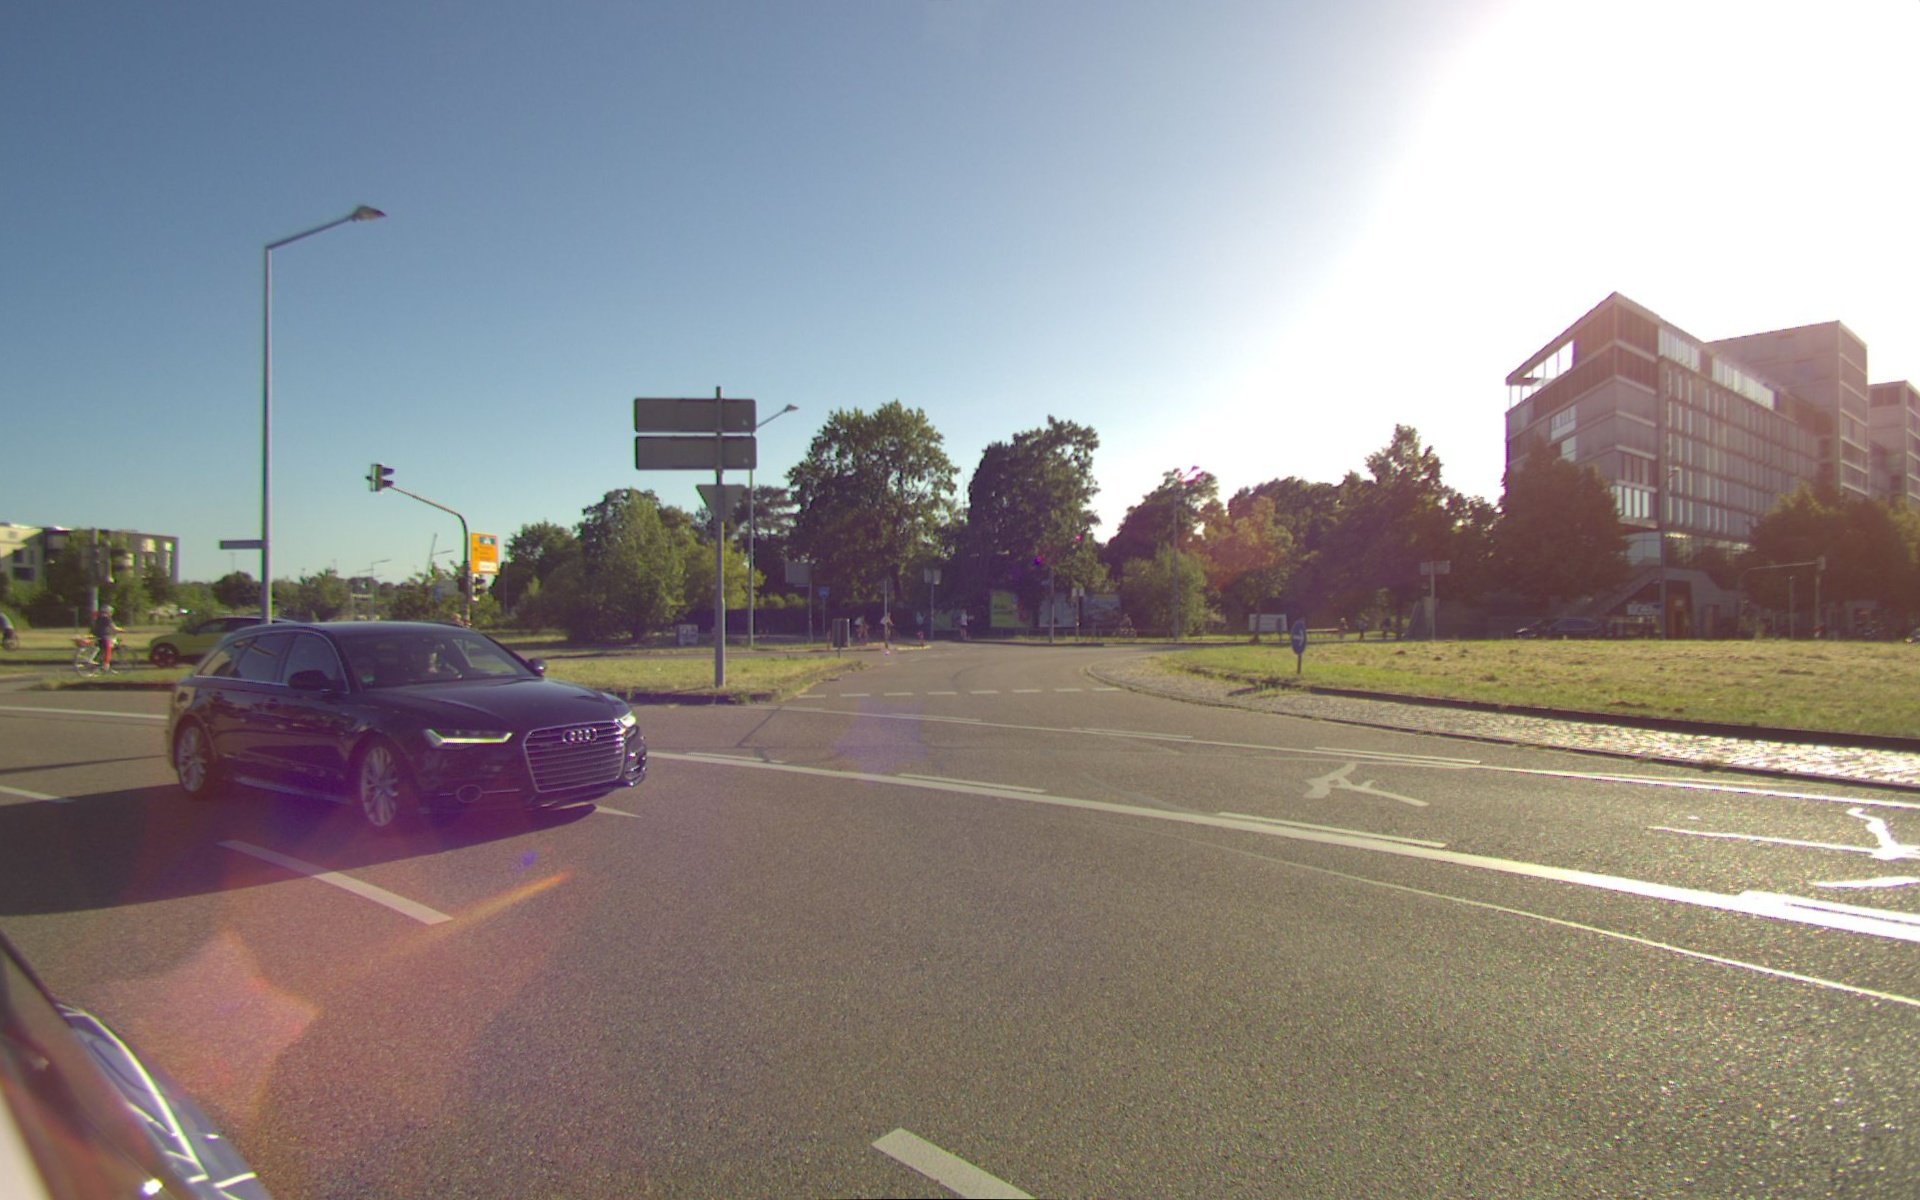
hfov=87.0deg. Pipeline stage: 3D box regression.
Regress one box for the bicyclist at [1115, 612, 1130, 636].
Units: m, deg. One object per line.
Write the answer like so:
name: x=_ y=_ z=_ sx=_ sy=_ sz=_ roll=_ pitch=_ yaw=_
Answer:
bicyclist: x=10.670 y=1.575 z=66.300 sx=0.822 sy=1.592 sz=0.663 roll=0 pitch=-1 yaw=-6

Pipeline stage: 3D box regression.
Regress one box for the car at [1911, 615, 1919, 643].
car: x=64.133 y=1.894 z=65.782 sx=3.850 sy=1.798 sz=1.781 roll=0 pitch=0 yaw=-18

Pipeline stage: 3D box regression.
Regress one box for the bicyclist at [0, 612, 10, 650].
bicyclist: x=-40.042 y=1.284 z=42.011 sx=0.841 sy=1.576 sz=0.432 roll=0 pitch=-1 yaw=8

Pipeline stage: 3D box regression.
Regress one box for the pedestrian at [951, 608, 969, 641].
pedestrian: x=0.020 y=1.485 z=61.355 sx=0.928 sy=2.021 sz=0.590 roll=0 pitch=-1 yaw=-18

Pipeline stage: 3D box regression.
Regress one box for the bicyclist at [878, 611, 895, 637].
bicyclist: x=-4.004 y=1.309 z=55.227 sx=0.707 sy=1.403 sz=0.618 roll=0 pitch=-1 yaw=-38

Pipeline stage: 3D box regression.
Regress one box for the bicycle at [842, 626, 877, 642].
bicycle: x=-5.463 y=1.845 z=55.078 sx=1.858 sy=0.859 sz=0.618 roll=0 pitch=-1 yaw=-38

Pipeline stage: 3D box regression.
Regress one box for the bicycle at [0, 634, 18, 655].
bicycle: x=-40.179 y=1.850 z=42.024 sx=1.866 sy=0.859 sz=0.490 roll=0 pitch=-1 yaw=8

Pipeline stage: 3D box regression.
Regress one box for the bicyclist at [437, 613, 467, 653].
bicyclist: x=-19.504 y=1.270 z=38.884 sx=0.610 sy=1.528 sz=0.923 roll=-1 pitch=-1 yaw=9

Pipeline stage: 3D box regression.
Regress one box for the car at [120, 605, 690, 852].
car: x=-4.610 y=0.811 z=8.122 sx=4.999 sy=1.454 sz=1.779 roll=-1 pitch=0 yaw=32

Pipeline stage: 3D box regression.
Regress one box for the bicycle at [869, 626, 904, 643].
bicycle: x=-3.992 y=1.869 z=55.222 sx=1.858 sy=0.859 sz=0.618 roll=0 pitch=-1 yaw=-38

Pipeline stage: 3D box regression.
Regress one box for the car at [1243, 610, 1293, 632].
car: x=26.005 y=1.733 z=85.496 sx=3.698 sy=1.819 sz=1.835 roll=0 pitch=-1 yaw=7

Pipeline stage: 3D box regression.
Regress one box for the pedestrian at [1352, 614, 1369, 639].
pedestrian: x=26.827 y=1.778 z=67.787 sx=0.751 sy=1.642 sz=0.884 roll=0 pitch=-1 yaw=4

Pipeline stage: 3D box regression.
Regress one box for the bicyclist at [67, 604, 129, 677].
bicyclist: x=-20.165 y=0.935 z=23.694 sx=0.693 sy=1.676 sz=0.944 roll=1 pitch=0 yaw=-6

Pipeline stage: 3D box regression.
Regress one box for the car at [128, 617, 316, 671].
car: x=-22.583 y=1.313 z=31.131 sx=4.256 sy=1.553 sz=2.013 roll=0 pitch=-1 yaw=-8

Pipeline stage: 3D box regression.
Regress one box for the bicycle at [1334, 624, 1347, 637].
bicycle: x=29.359 y=2.351 z=77.995 sx=0.585 sy=1.019 sz=1.850 roll=0 pitch=-1 yaw=32

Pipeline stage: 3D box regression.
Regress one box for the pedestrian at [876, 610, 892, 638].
pedestrian: x=-5.657 y=1.789 z=75.570 sx=0.888 sy=2.029 sz=0.819 roll=2 pitch=-1 yaw=-44

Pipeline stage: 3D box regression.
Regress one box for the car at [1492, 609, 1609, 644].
car: x=31.796 y=1.416 z=54.620 sx=4.935 sy=1.798 sz=2.466 roll=0 pitch=0 yaw=-7

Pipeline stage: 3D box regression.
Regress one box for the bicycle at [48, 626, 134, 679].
bicycle: x=-20.135 y=1.206 z=23.494 sx=0.693 sy=1.137 sz=1.658 roll=1 pitch=0 yaw=-7

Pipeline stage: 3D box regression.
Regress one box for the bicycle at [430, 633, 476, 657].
bicycle: x=-19.498 y=1.738 z=38.929 sx=0.610 sy=0.859 sz=1.884 roll=-1 pitch=-1 yaw=9

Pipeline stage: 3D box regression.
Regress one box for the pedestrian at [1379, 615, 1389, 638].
pedestrian: x=32.262 y=2.011 z=77.019 sx=0.674 sy=1.696 sz=0.882 roll=-1 pitch=-1 yaw=22

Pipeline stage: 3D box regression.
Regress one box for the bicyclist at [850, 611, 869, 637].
bicyclist: x=-5.487 y=1.286 z=55.058 sx=0.824 sy=1.403 sz=0.618 roll=0 pitch=-1 yaw=-38

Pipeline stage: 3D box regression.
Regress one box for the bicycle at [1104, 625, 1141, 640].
bicycle: x=10.642 y=2.120 z=66.302 sx=2.228 sy=0.995 sz=0.663 roll=0 pitch=-1 yaw=-6

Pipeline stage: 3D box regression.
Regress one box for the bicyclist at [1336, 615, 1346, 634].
bicyclist: x=29.376 y=1.881 z=77.997 sx=0.585 sy=1.479 sz=0.748 roll=0 pitch=-1 yaw=32
